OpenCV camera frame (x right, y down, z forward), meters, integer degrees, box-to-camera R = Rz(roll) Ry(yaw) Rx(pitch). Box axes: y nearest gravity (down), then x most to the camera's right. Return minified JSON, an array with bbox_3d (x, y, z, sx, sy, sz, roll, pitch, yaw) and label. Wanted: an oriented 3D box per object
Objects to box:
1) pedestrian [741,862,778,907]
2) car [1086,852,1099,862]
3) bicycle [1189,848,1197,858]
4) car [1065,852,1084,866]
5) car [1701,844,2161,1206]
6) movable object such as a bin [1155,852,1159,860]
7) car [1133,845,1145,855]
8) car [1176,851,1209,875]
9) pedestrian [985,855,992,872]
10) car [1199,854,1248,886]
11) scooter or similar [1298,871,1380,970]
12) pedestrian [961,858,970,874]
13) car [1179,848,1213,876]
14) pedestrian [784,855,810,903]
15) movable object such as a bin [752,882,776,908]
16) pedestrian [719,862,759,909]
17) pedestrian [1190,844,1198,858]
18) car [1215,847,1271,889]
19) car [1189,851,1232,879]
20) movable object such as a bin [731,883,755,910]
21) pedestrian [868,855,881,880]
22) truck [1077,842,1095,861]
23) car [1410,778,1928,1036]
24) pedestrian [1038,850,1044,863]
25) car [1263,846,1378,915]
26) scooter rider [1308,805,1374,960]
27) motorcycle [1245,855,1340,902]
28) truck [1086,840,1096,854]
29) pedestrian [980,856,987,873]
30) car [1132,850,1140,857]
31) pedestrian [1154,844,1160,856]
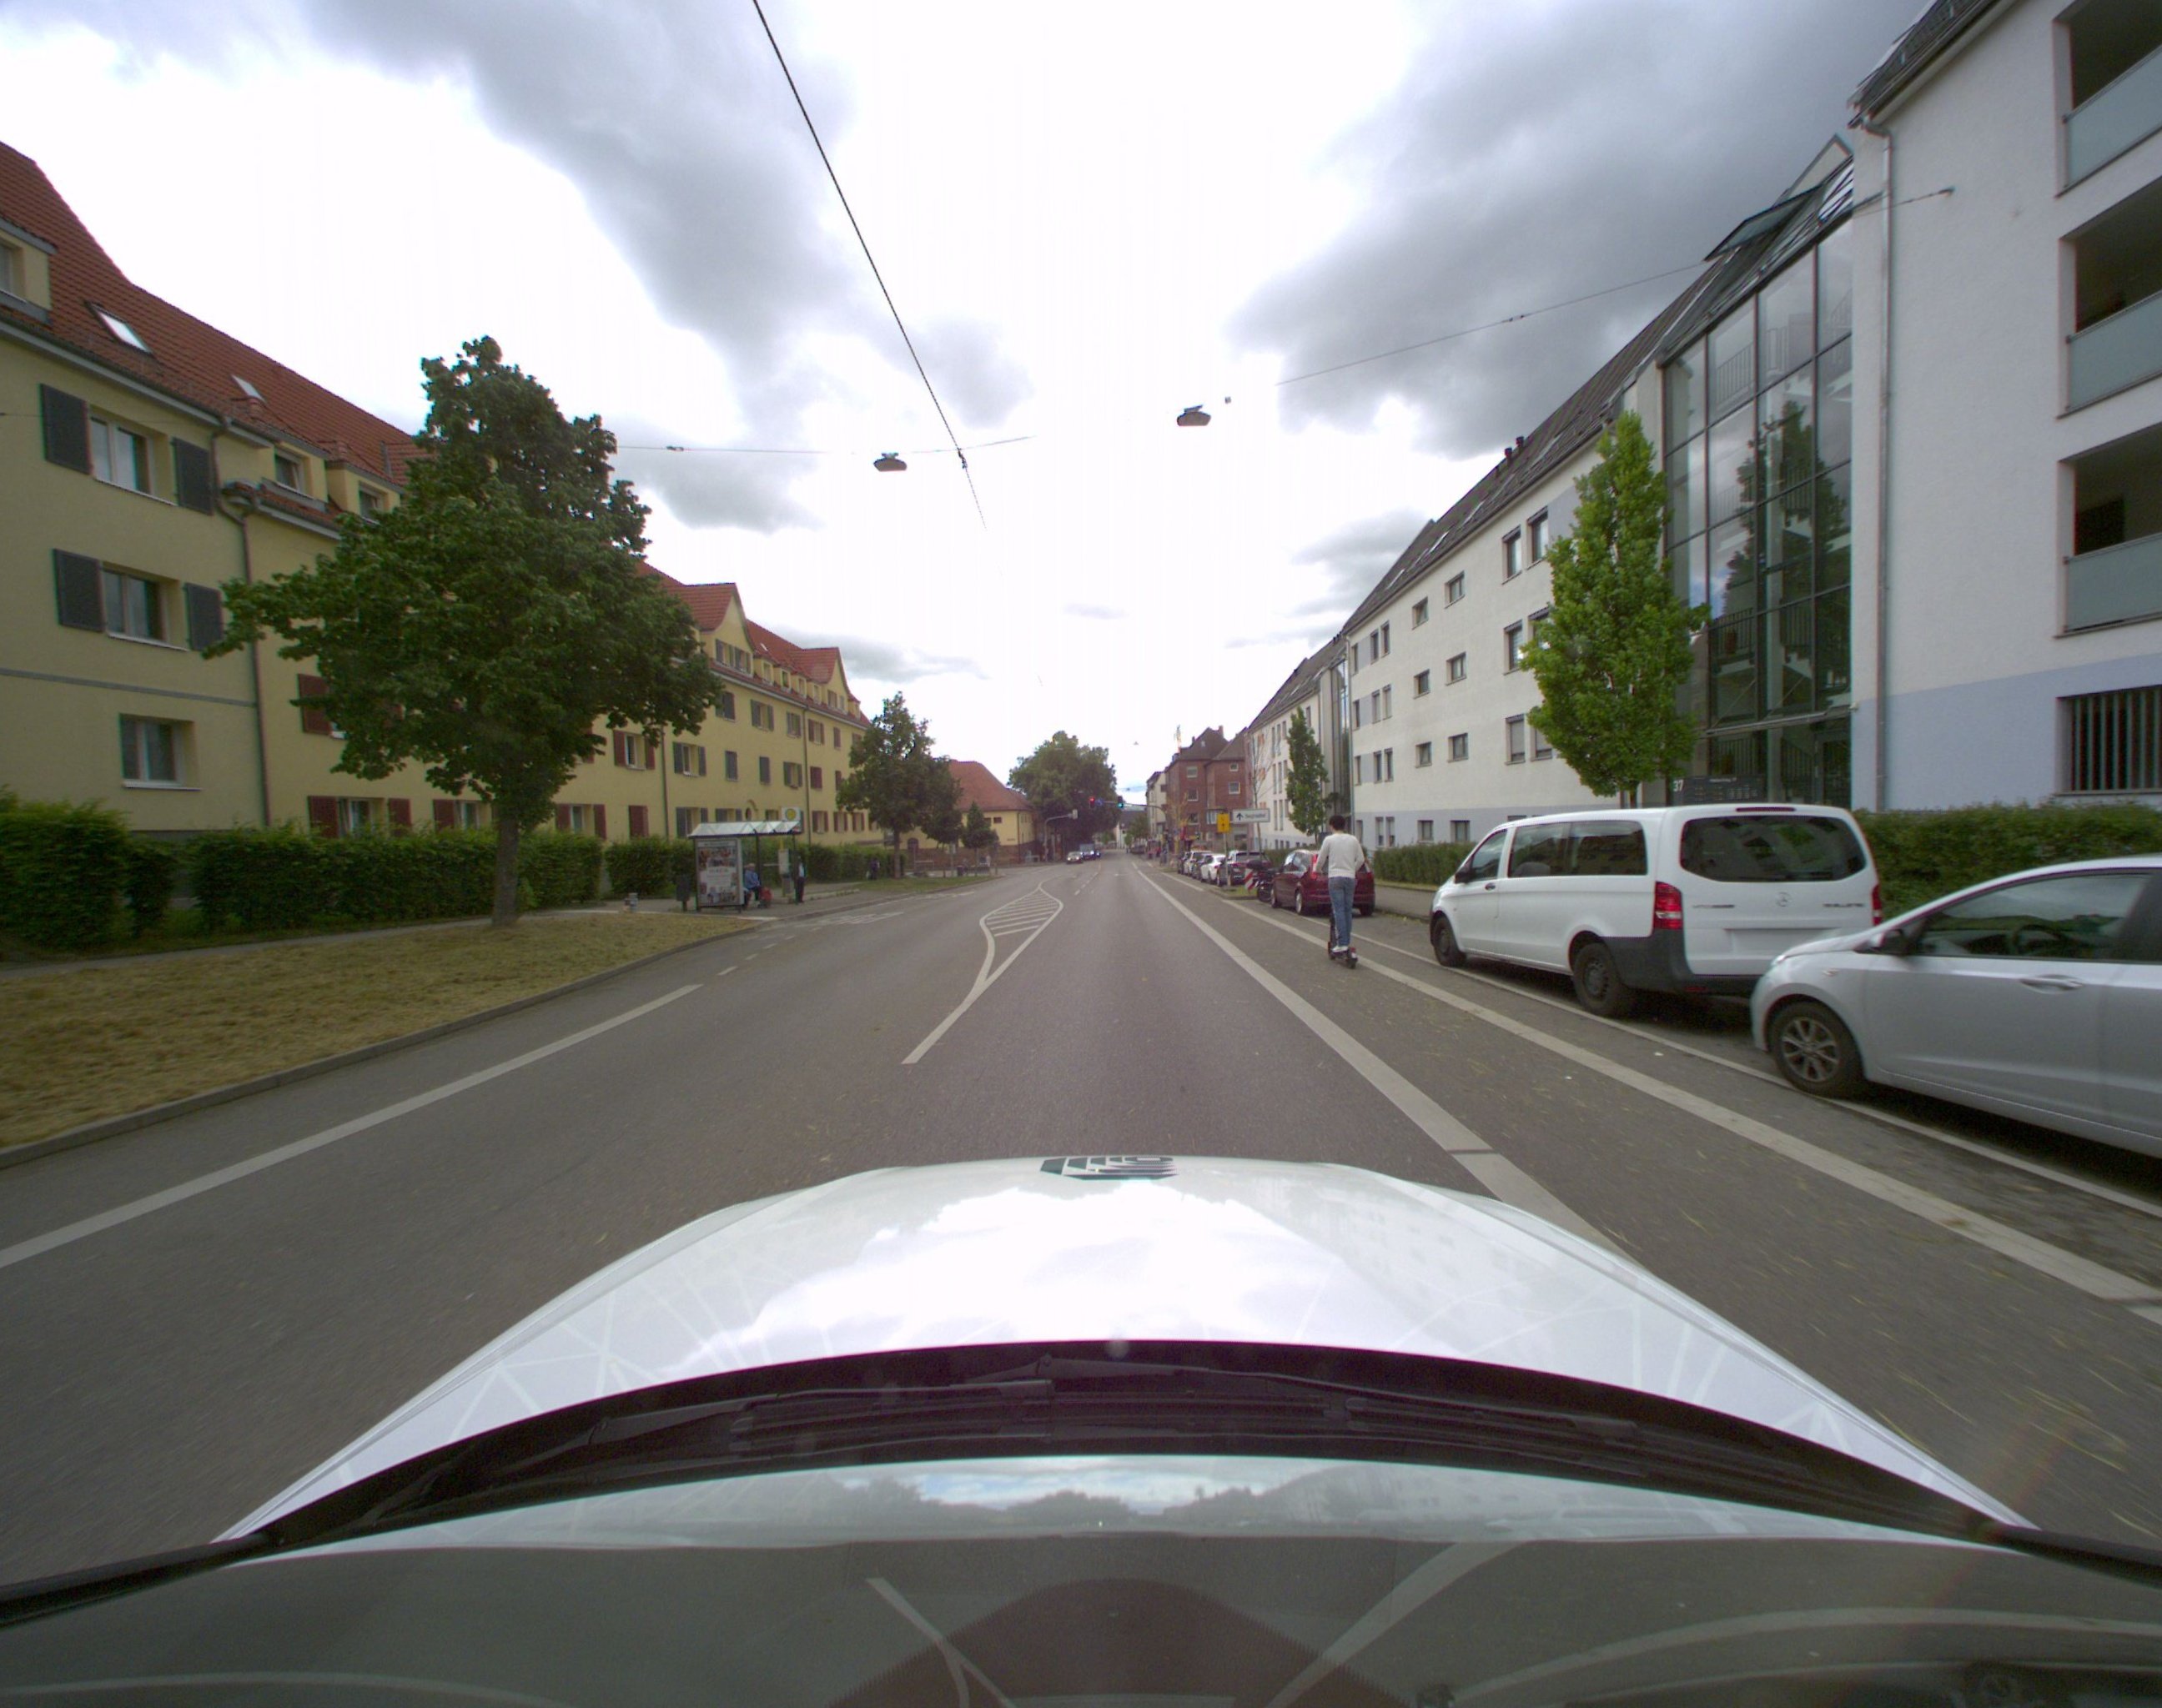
[{"bbox_3d":[-10.938,1.021,27.744,0.895,1.509,0.807,0,0,3],"label":"pedestrian"},{"bbox_3d":[1.864,0.457,128.164,1.695,1.414,4.197,-3,0,4],"label":"car"},{"bbox_3d":[13.683,-0.182,99.839,0.757,1.193,2.393,-1,0,3],"label":"bicycle"},{"bbox_3d":[-0.735,0.558,96.135,1.747,1.472,4.313,-3,0,5],"label":"car"},{"bbox_3d":[5.186,0.696,3.940,1.520,1.485,3.725,0,0,-1],"label":"car"},{"bbox_3d":[10.518,0.245,112.934,0.449,1.056,0.412,-1,0,22],"label":"movable object such as a bin"},{"bbox_3d":[11.710,-0.893,165.679,1.987,1.935,4.918,-1,0,0],"label":"car"},{"bbox_3d":[7.768,0.620,57.098,1.728,1.588,4.573,0,0,1],"label":"car"},{"bbox_3d":[-9.903,0.980,87.485,0.561,1.777,0.717,-1,0,2],"label":"pedestrian"},{"bbox_3d":[6.865,0.725,39.629,1.724,1.413,4.501,0,0,1],"label":"car"},{"bbox_3d":[3.463,0.842,11.082,0.489,1.163,2.075,-1,0,2],"label":"scooter or similar"},{"bbox_3d":[-11.542,1.206,81.446,0.560,1.566,0.844,-1,0,8],"label":"pedestrian"},{"bbox_3d":[7.334,0.461,52.230,1.653,1.716,4.553,0,0,1],"label":"car"},{"bbox_3d":[-10.459,0.914,30.029,0.594,1.726,0.862,-1,0,5],"label":"pedestrian"},{"bbox_3d":[-10.777,1.394,27.704,0.534,0.845,0.665,0,0,3],"label":"movable object such as a bin"},{"bbox_3d":[-11.071,1.015,26.390,0.895,1.474,0.807,0,0,3],"label":"pedestrian"},{"bbox_3d":[13.923,-0.356,100.058,0.785,1.656,0.773,-4,0,3],"label":"pedestrian"},{"bbox_3d":[6.712,0.525,34.166,1.625,1.650,4.358,0,1,2],"label":"car"},{"bbox_3d":[7.187,0.592,45.597,1.739,1.467,4.950,0,0,1],"label":"car"},{"bbox_3d":[-10.932,1.370,26.314,0.462,0.826,0.665,0,0,3],"label":"movable object such as a bin"},{"bbox_3d":[-13.439,0.869,52.898,0.638,1.619,0.618,-1,0,1],"label":"pedestrian"},{"bbox_3d":[0.630,-0.365,111.973,2.288,2.427,6.410,-3,0,0],"label":"truck"},{"bbox_3d":[5.577,0.392,8.881,1.986,1.944,5.213,-1,0,2],"label":"car"},{"bbox_3d":[-5.415,0.319,109.708,0.671,1.765,0.726,-2,0,4],"label":"pedestrian"},{"bbox_3d":[5.911,0.584,20.604,1.675,1.544,4.340,-1,0,1],"label":"car"},{"bbox_3d":[3.503,0.365,11.026,0.623,2.013,0.758,-1,0,1],"label":"scooter rider"},{"bbox_3d":[6.173,0.694,23.846,2.591,1.278,0.752,-1,0,-2],"label":"motorcycle"},{"bbox_3d":[2.453,-1.718,202.294,2.222,3.346,7.452,-1,0,2],"label":"truck"},{"bbox_3d":[-10.547,1.141,87.855,0.561,1.777,0.843,-1,0,2],"label":"pedestrian"},{"bbox_3d":[12.829,-0.040,189.414,1.663,1.547,3.756,-1,0,0],"label":"car"},{"bbox_3d":[10.575,-0.541,113.202,0.560,1.636,0.684,-1,0,22],"label":"pedestrian"}]
